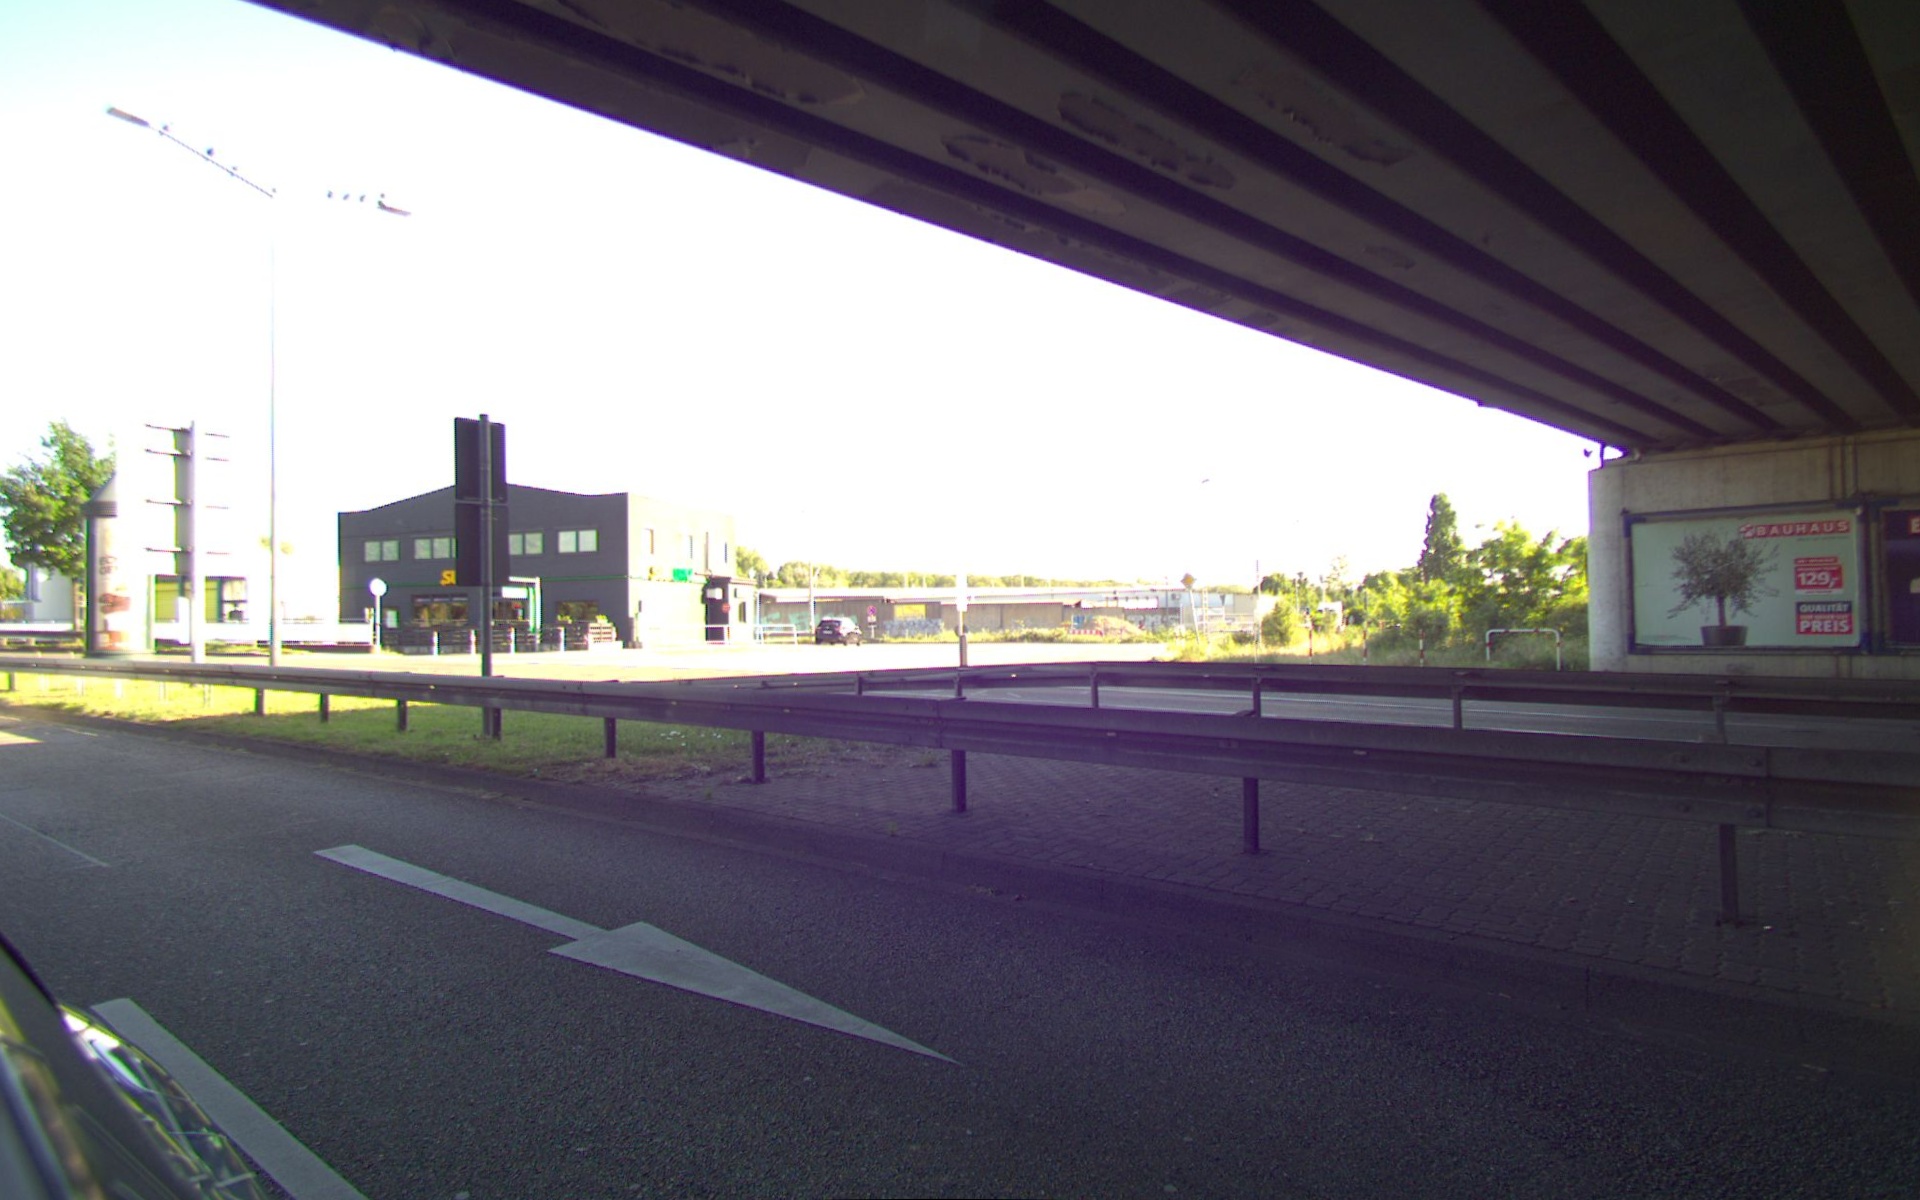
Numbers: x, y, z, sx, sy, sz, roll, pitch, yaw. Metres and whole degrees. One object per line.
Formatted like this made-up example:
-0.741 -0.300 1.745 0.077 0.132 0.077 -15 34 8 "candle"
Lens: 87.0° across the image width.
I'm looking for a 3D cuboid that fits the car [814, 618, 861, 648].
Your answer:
-6.633 1.780 54.984 1.858 1.453 3.996 -1 0 3 "car"
